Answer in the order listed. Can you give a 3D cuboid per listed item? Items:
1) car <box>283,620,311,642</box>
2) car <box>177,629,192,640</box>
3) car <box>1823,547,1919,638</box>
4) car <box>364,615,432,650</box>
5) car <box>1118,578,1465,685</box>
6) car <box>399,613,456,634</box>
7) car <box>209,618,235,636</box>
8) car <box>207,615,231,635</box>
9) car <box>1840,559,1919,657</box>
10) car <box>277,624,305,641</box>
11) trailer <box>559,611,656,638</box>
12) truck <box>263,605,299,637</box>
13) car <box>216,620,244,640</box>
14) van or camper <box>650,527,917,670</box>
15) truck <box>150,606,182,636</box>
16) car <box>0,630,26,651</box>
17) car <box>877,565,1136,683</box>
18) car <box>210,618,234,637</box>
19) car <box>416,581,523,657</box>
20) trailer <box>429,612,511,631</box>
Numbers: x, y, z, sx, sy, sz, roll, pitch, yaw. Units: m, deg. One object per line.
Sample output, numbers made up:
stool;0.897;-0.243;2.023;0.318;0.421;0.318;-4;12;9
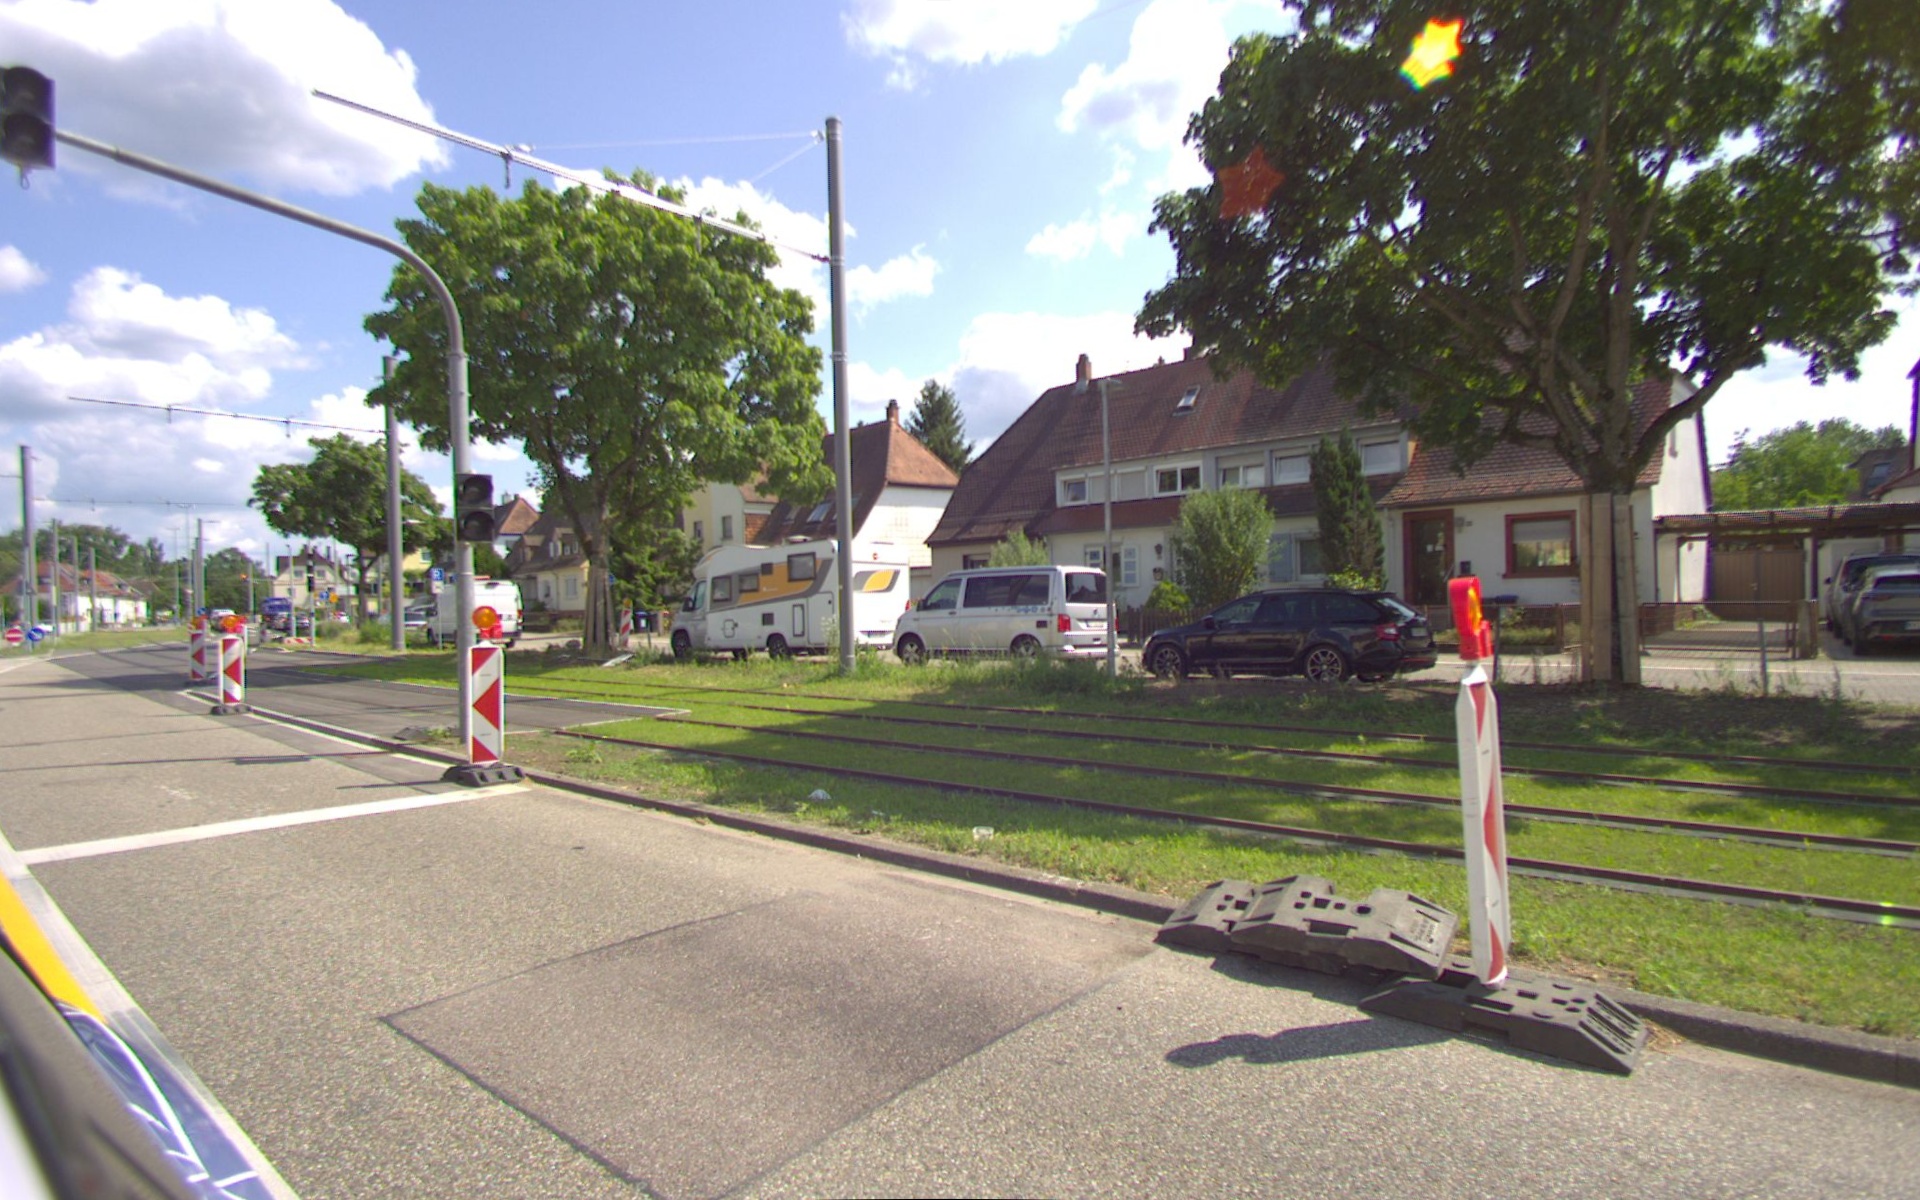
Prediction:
car;-50.790;2.366;77.541;1.702;1.538;4.783;-2;0;-33
car;-153.882;6.909;200.850;2.027;2.023;4.961;-1;0;-35
car;19.532;-0.199;21.289;1.796;1.750;3.951;-2;1;37
car;-25.972;1.486;46.701;1.672;1.476;4.760;-1;0;-43
car;4.951;0.445;15.715;1.830;1.397;4.813;-2;0;-43
car;-43.567;1.891;82.864;3.831;1.567;1.684;-2;0;-42
car;-69.736;2.565;95.618;1.703;1.574;4.550;-2;0;-39
car;-78.894;2.633;107.721;1.893;1.979;4.550;-2;0;-39
car;16.667;0.075;17.487;1.870;1.541;3.951;-2;1;37
car;-55.028;2.656;83.174;1.702;1.345;4.552;-2;0;-36
trailer;-21.359;1.456;61.411;5.190;1.404;2.027;-2;0;-40
truck;-71.670;2.201;106.791;2.798;3.178;7.952;-2;0;-36
car;-60.763;2.460;84.251;1.703;1.574;4.551;-2;0;-38
van or camper;-4.468;0.026;24.440;7.295;2.992;2.350;-2;0;42
truck;-145.653;3.841;185.690;3.421;5.223;14.255;-1;0;-34
car;-77.725;3.309;82.603;1.851;1.564;4.994;-2;0;-40
car;0.783;0.441;19.748;4.903;2.029;1.972;-2;0;43
car;-73.782;2.736;101.097;1.703;1.868;4.550;-2;0;-39
car;-18.713;0.720;38.498;2.128;2.688;4.919;-2;0;-45
trailer;-34.546;1.523;71.407;4.862;1.133;1.963;-2;0;-42
